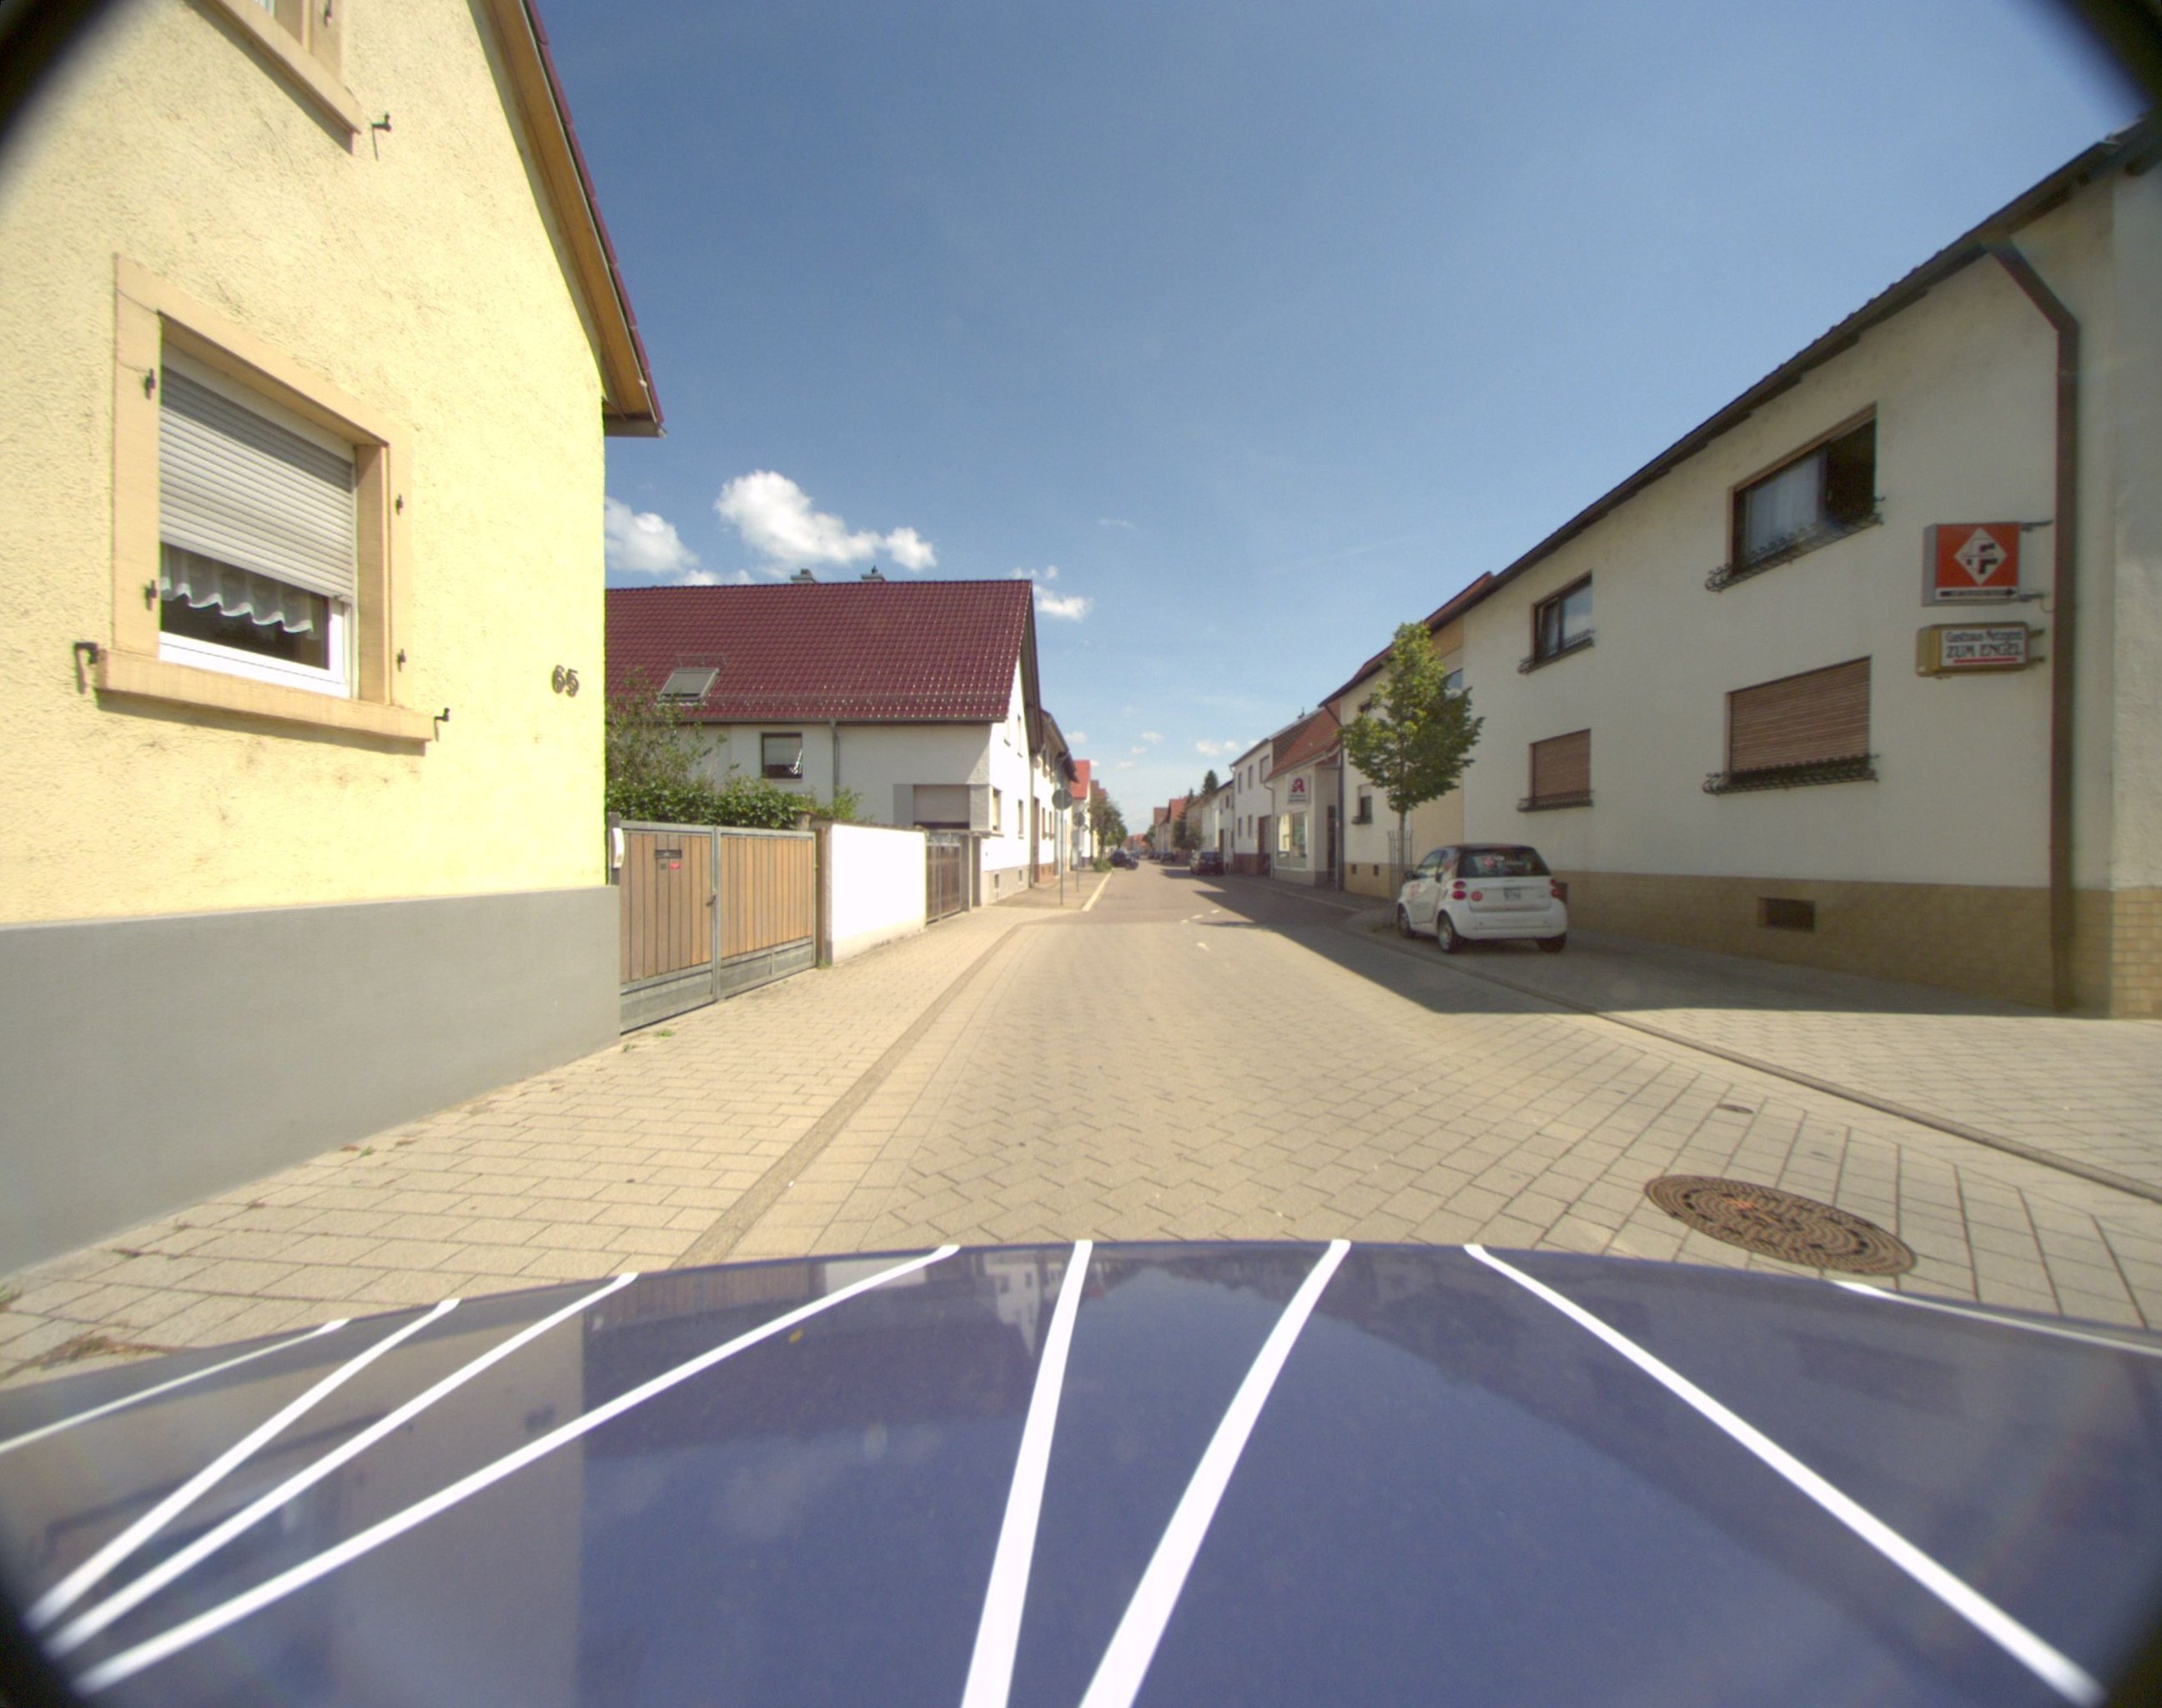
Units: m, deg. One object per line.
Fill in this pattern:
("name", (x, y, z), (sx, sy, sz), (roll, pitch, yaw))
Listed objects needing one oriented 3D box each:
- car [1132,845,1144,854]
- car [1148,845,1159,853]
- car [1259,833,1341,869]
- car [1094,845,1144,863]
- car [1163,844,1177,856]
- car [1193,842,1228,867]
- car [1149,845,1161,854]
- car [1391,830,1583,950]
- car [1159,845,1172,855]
("car", (9.766, -0.735, 130.168), (1.957, 1.521, 4.001), (0, 1, 4))
("car", (14.451, -0.952, 150.709), (1.998, 1.571, 4.000), (0, 1, 3))
("car", (11.960, -0.178, 41.693), (3.995, 1.708, 1.814), (-3, 1, 5))
("car", (3.197, 0.005, 63.844), (3.808, 1.421, 1.731), (0, 1, 30))
("car", (12.373, -0.557, 105.710), (1.851, 1.689, 4.001), (0, 1, 4))
("car", (8.414, -0.020, 49.647), (1.752, 1.557, 3.955), (0, 1, 2))
("car", (14.120, -0.822, 144.611), (1.998, 1.571, 4.000), (0, 1, 1))
("car", (6.030, 0.463, 11.622), (1.576, 1.552, 2.822), (-3, 1, 5))
("car", (14.102, -0.694, 126.918), (1.854, 1.543, 4.000), (0, 1, 1))
